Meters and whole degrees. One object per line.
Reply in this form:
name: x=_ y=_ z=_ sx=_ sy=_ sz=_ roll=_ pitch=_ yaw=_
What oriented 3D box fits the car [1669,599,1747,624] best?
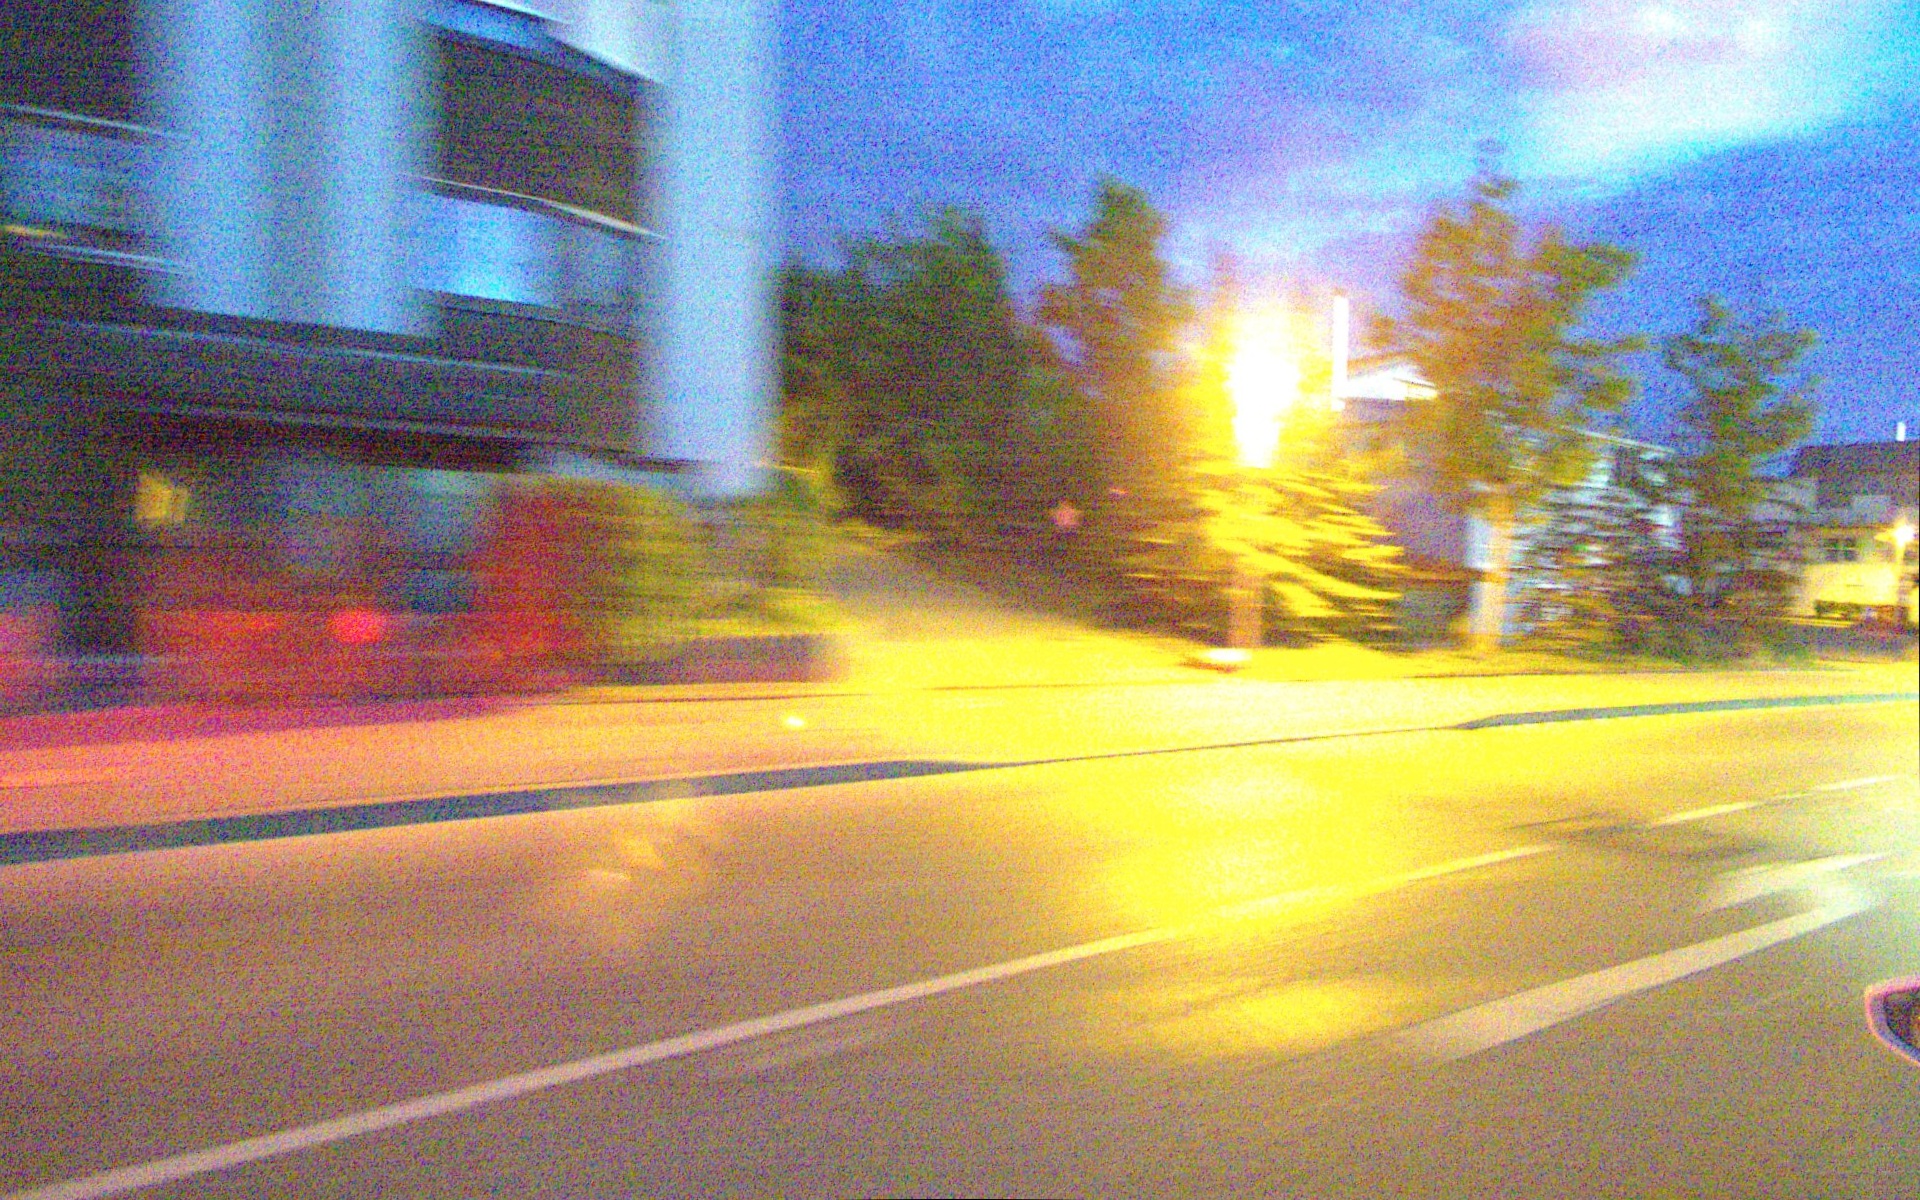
car: x=55.183 y=0.820 z=74.127 sx=1.896 sy=1.611 sz=4.295 roll=1 pitch=3 yaw=-41
